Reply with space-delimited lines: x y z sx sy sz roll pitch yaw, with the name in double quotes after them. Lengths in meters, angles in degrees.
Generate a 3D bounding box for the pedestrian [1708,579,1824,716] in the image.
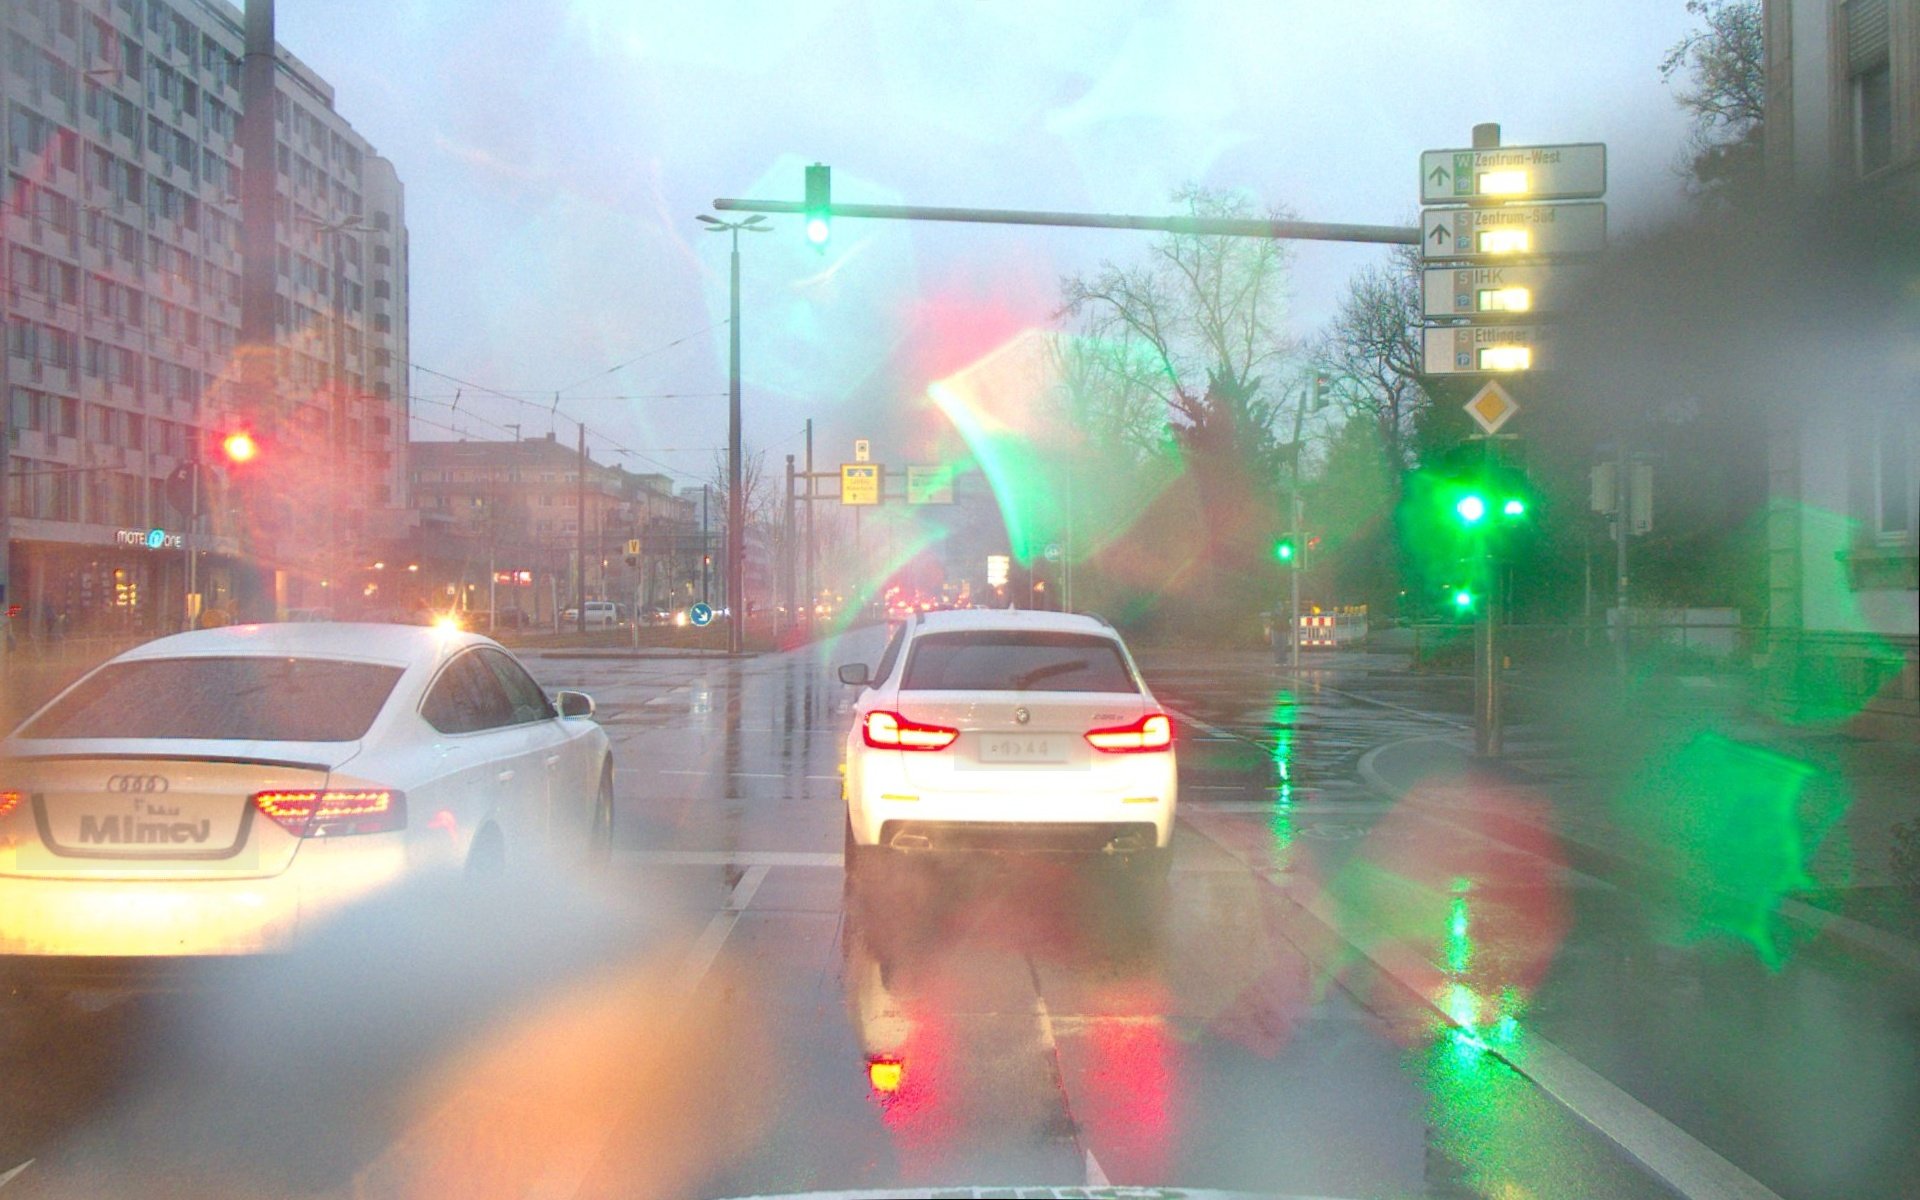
9.733 0.567 19.988 0.989 1.607 0.782 1 -1 -10 "pedestrian"

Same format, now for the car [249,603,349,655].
-24.122 1.025 60.532 1.843 1.821 4.598 1 0 -1 "car"

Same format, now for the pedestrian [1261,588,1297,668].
7.722 0.670 40.054 0.660 1.912 0.714 1 -1 -5 "pedestrian"

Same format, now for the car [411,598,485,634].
-22.273 0.670 72.137 1.954 1.487 5.090 1 0 -5 "car"

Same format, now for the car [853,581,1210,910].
0.249 0.723 10.188 1.724 1.580 4.249 1 0 -3 "car"

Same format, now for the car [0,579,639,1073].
-2.582 0.701 7.170 1.724 1.495 4.249 1 0 -3 "car"

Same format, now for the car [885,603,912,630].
-4.738 1.272 128.271 1.953 2.049 3.999 1 0 -1 "car"

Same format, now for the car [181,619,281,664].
-27.487 1.551 62.481 1.842 1.601 4.001 1 0 2 "car"

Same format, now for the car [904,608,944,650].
-1.811 1.446 84.235 1.953 2.049 3.999 1 0 -1 "car"

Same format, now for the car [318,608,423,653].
-20.960 1.058 59.069 1.953 1.487 5.094 1 0 -1 "car"

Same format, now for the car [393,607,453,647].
-21.400 1.046 66.074 1.960 1.487 5.074 1 0 -15 "car"
